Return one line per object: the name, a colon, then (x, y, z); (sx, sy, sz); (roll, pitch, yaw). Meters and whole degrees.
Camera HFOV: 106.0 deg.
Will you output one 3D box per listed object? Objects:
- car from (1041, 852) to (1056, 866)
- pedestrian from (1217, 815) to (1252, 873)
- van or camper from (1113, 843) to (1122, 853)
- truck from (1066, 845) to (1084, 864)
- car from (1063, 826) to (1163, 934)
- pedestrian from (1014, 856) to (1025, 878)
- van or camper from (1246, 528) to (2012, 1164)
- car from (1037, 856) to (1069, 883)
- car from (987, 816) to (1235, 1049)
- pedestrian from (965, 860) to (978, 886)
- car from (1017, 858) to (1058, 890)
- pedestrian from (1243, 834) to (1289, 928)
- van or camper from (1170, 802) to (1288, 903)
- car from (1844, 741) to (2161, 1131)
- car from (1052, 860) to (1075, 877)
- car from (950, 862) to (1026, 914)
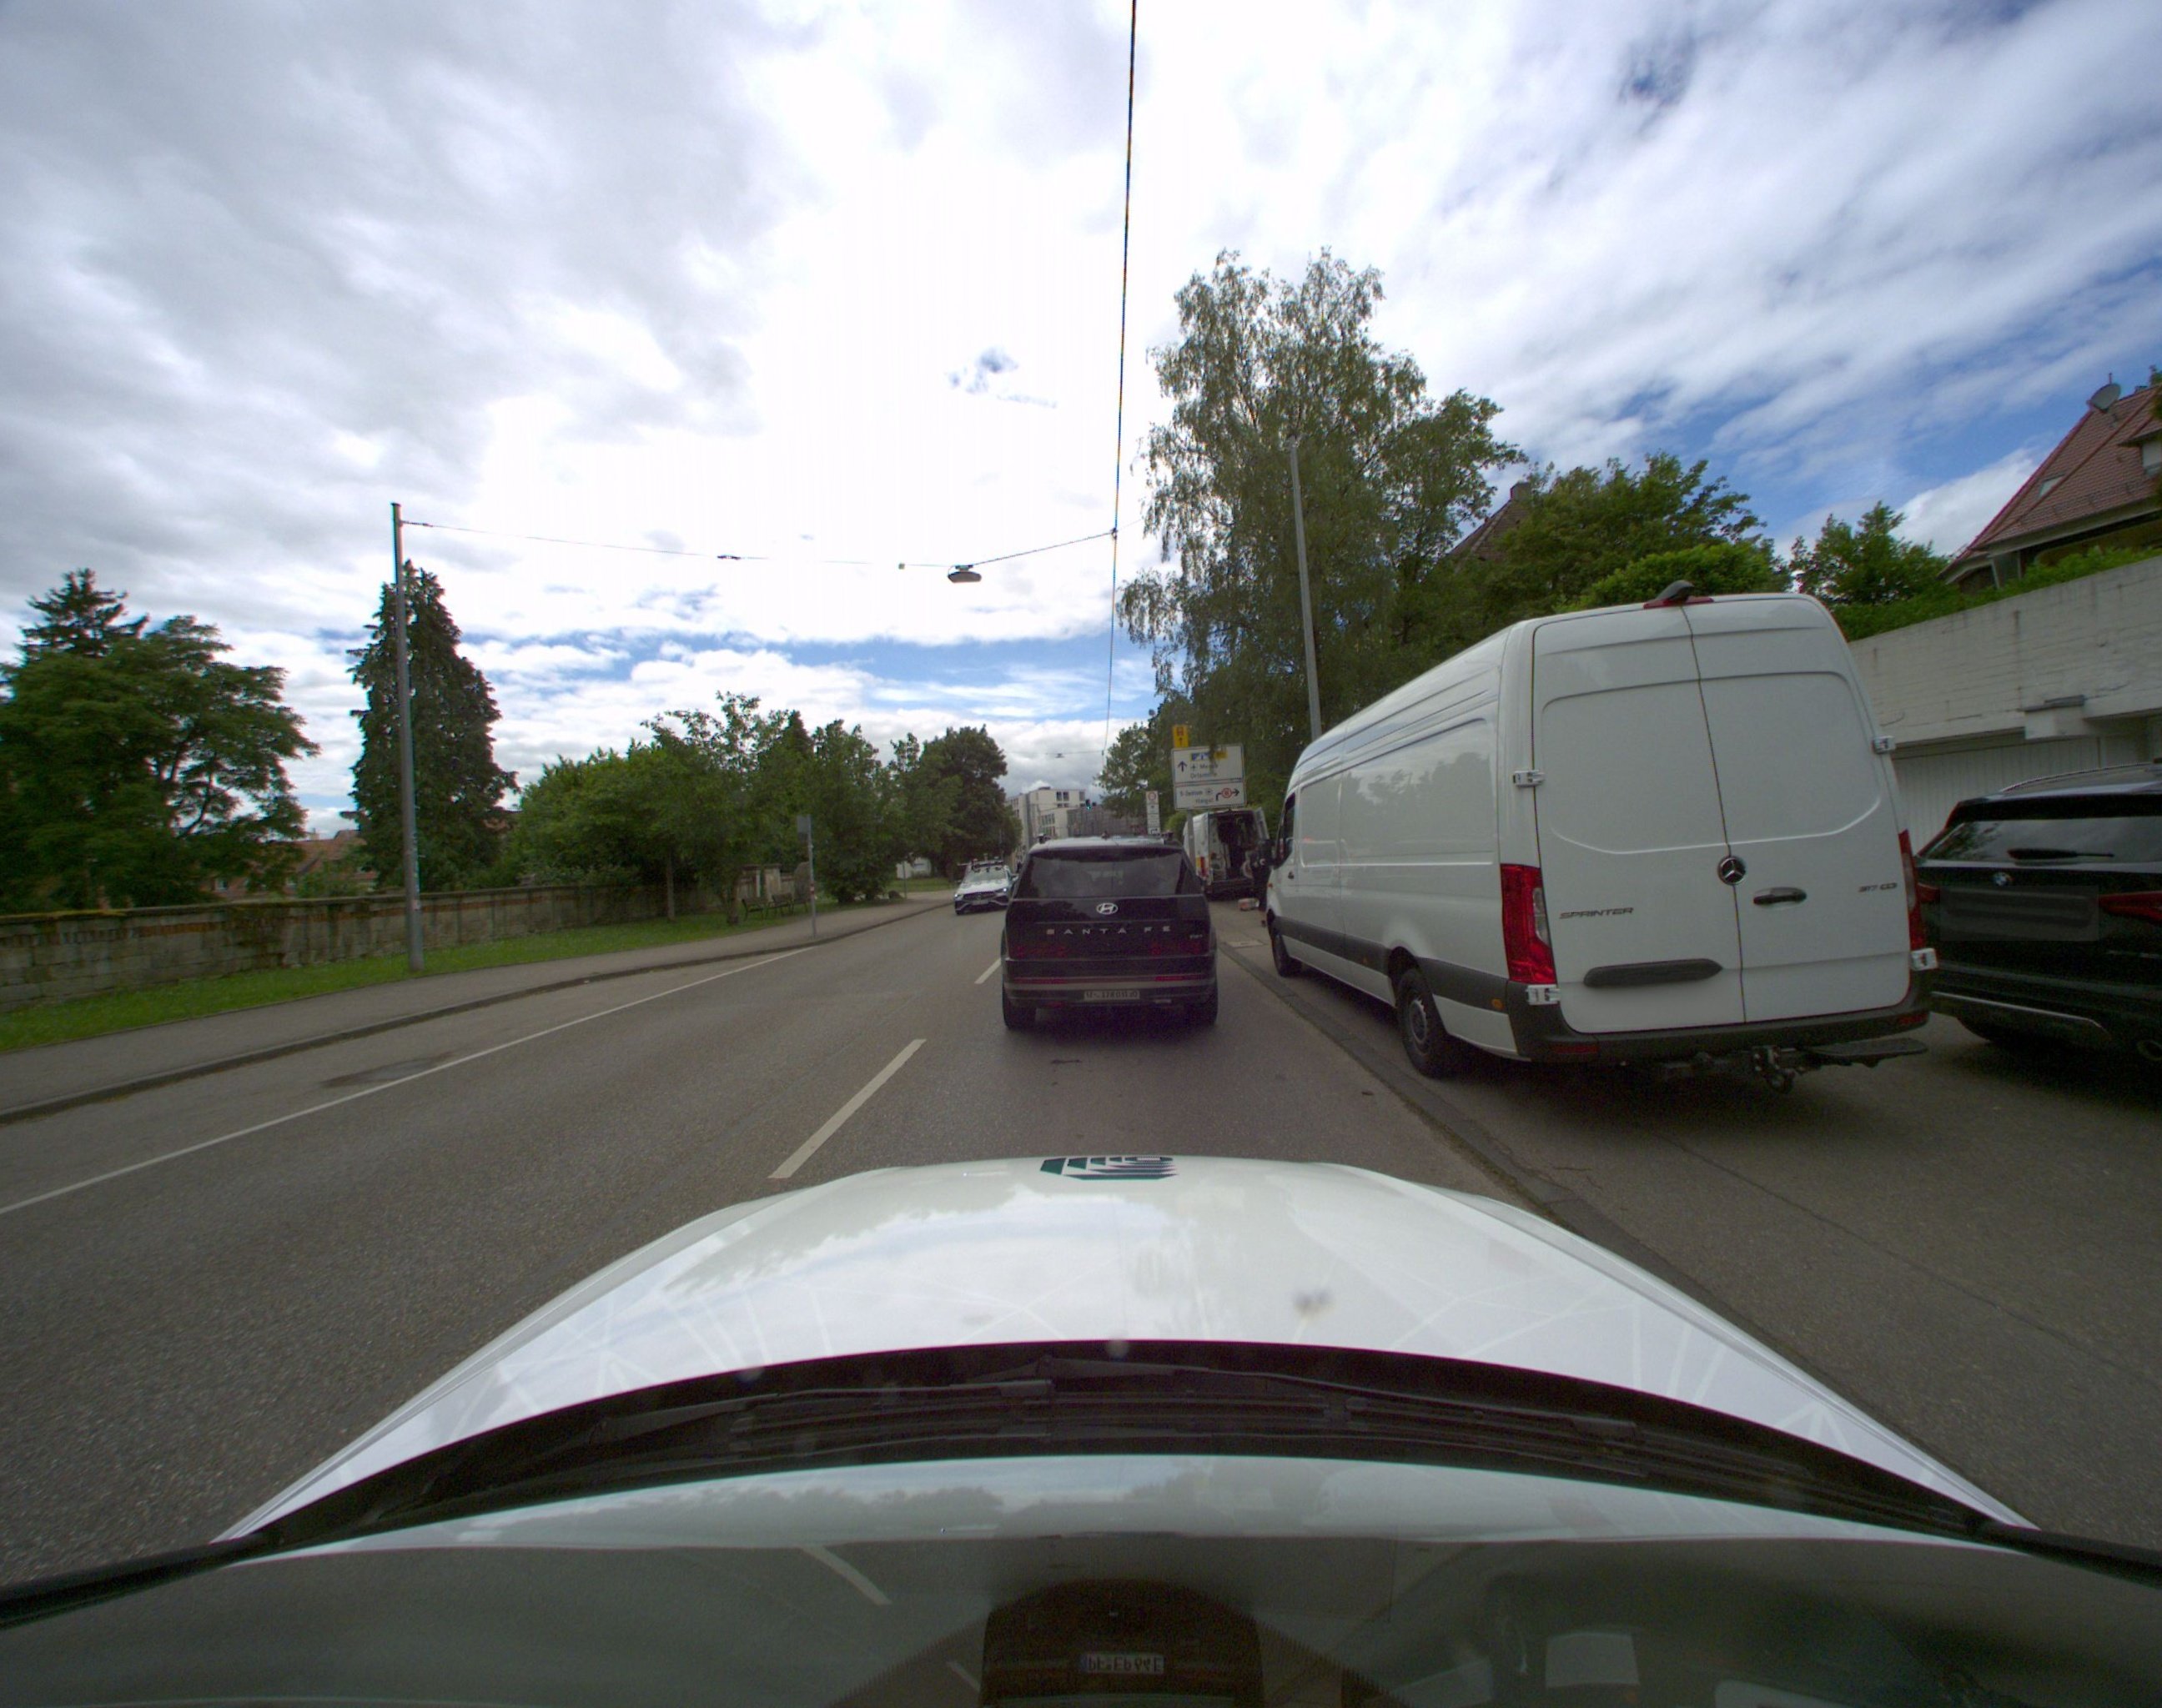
car: (-5.810, 0.887, 144.413); (2.328, 2.315, 4.950); (-3, 0, -4)
pedestrian: (4.541, -0.296, 24.093); (0.792, 1.643, 0.743); (-5, -1, 21)
van or camper: (7.729, -1.181, 172.540); (1.791, 1.999, 3.821); (0, -1, -2)
truck: (-1.400, 0.107, 183.417); (3.102, 3.859, 9.606); (-3, 0, -4)
car: (0.668, 0.506, 17.529); (1.890, 2.042, 3.995); (0, -1, 2)
pedestrian: (-5.666, 1.226, 75.150); (0.826, 2.014, 1.048); (0, -1, 4)
van or camper: (3.078, -0.011, 6.884); (1.984, 2.625, 6.546); (-6, -1, 2)
car: (-1.894, 1.061, 56.331); (1.873, 1.644, 4.129); (-6, -1, 1)
car: (0.290, 0.621, 8.252); (1.890, 1.776, 3.995); (0, -1, 2)
pedestrian: (-7.437, 1.267, 55.365); (0.765, 1.748, 0.903); (-2, -1, -2)
car: (-2.262, 1.016, 43.304); (1.695, 1.483, 4.001); (-5, -1, 2)
pedestrian: (3.479, 0.496, 15.388); (0.785, 1.721, 0.754); (0, -1, 8)
van or camper: (4.359, 0.021, 25.269); (2.332, 2.494, 6.603); (-6, -1, 1)
car: (6.807, 0.217, 4.007); (4.365, 1.675, 1.696); (-4, -1, 2)
car: (-1.643, 1.360, 78.232); (1.808, 1.419, 4.830); (-6, -1, 1)
car: (-2.987, 1.048, 26.929); (1.750, 1.403, 4.416); (-5, -1, 2)
